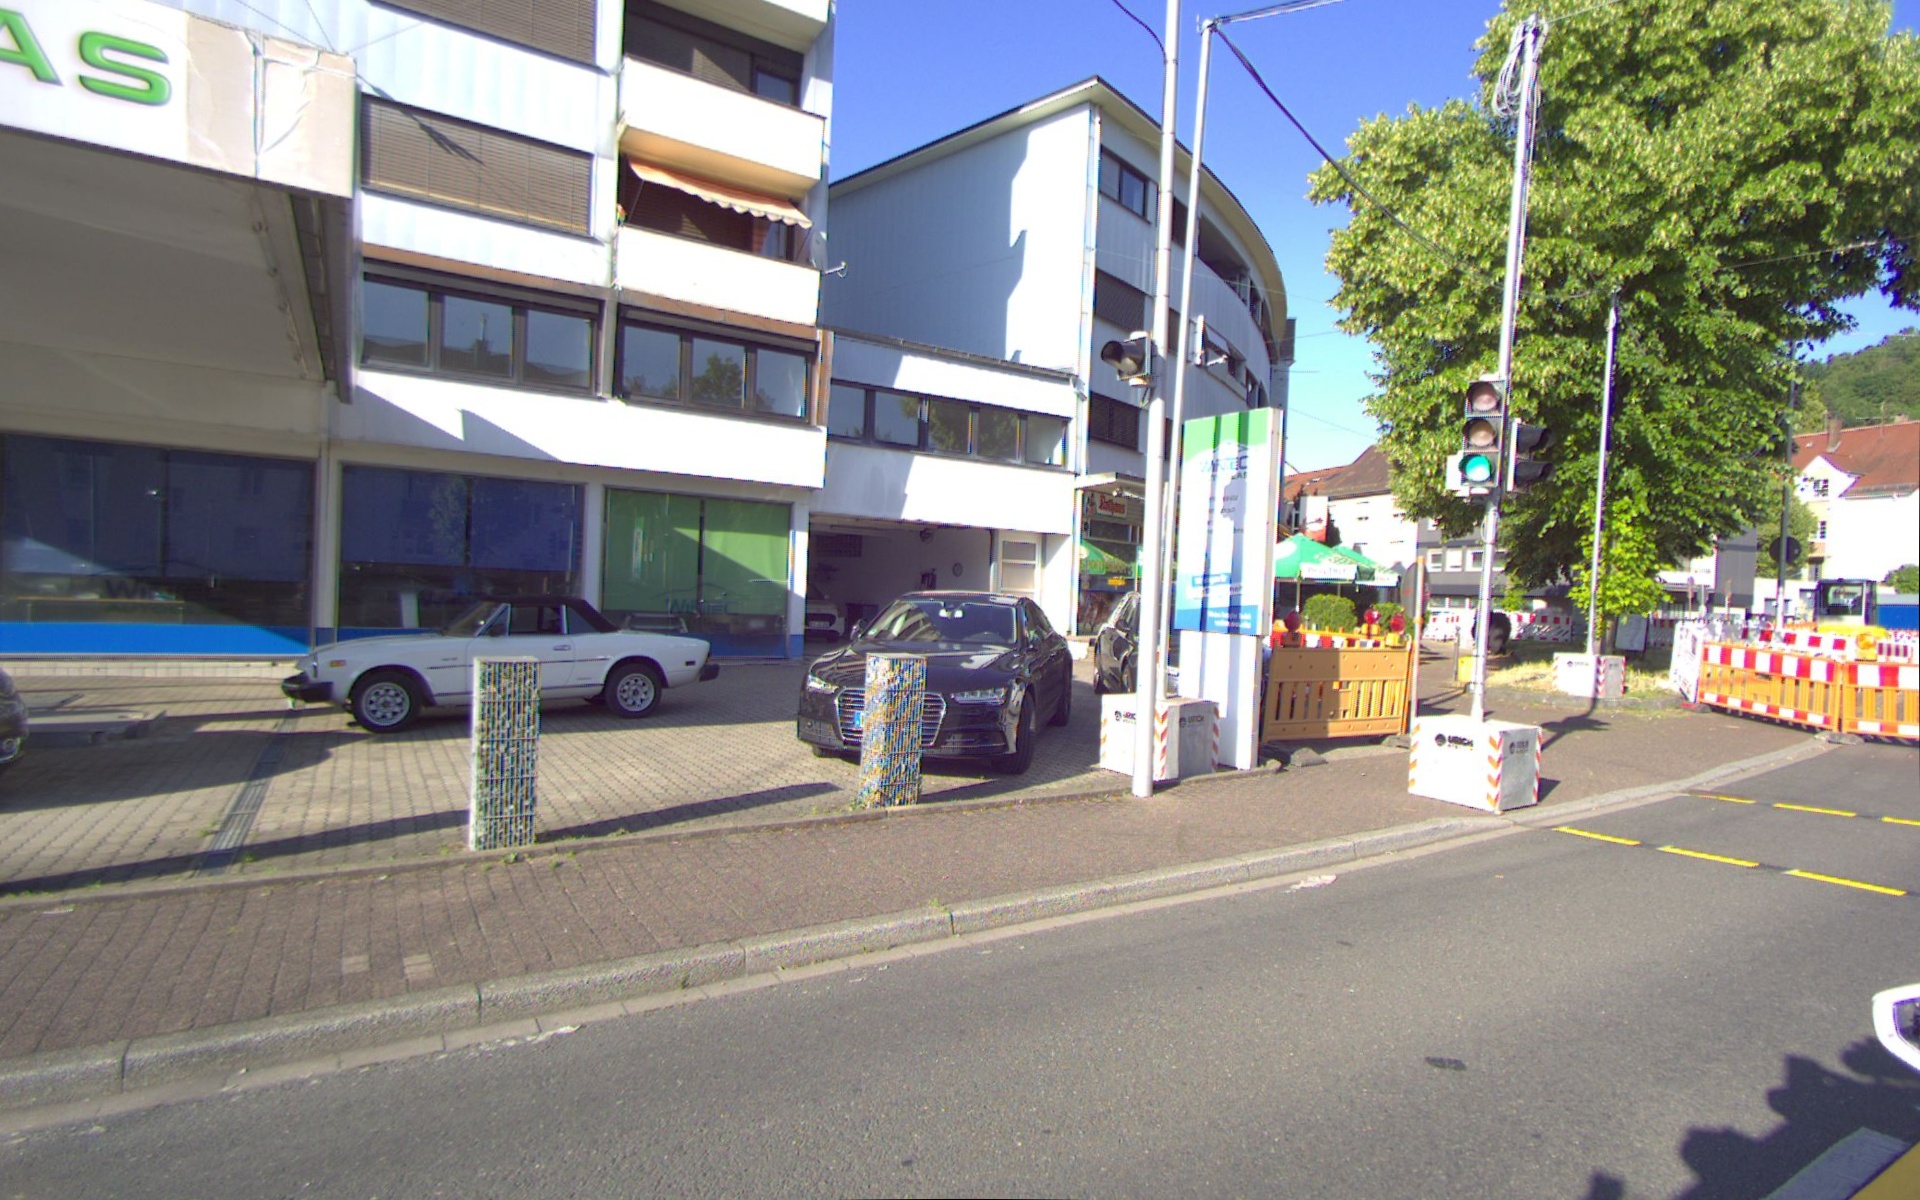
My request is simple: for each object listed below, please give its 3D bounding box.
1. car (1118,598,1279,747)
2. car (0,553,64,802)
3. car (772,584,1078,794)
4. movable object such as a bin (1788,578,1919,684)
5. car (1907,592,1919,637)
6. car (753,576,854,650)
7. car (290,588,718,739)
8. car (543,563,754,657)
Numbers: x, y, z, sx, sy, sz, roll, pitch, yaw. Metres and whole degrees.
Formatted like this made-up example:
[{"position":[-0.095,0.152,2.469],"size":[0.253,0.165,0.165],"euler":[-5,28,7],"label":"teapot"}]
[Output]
[{"position":[2.772,0.749,12.085],"size":[1.564,1.457,3.887],"euler":[1,0,11],"label":"car"},{"position":[-7.469,0.411,5.865],"size":[3.305,1.506,1.543],"euler":[2,0,8],"label":"car"},{"position":[-0.011,0.653,9.577],"size":[1.893,1.457,4.692],"euler":[1,-1,11],"label":"car"},{"position":[21.578,0.710,24.116],"size":[3.882,2.356,1.635],"euler":[1,0,-36],"label":"movable object such as a bin"},{"position":[49.522,0.804,48.477],"size":[6.043,2.149,2.586],"euler":[2,0,-12],"label":"car"},{"position":[-3.879,0.258,24.387],"size":[1.550,1.629,3.734],"euler":[2,1,-23],"label":"car"},{"position":[-4.662,0.595,10.493],"size":[3.865,1.315,1.511],"euler":[1,-1,-35],"label":"car"},{"position":[-6.086,0.222,19.716],"size":[3.593,1.695,1.707],"euler":[2,0,-34],"label":"car"}]
